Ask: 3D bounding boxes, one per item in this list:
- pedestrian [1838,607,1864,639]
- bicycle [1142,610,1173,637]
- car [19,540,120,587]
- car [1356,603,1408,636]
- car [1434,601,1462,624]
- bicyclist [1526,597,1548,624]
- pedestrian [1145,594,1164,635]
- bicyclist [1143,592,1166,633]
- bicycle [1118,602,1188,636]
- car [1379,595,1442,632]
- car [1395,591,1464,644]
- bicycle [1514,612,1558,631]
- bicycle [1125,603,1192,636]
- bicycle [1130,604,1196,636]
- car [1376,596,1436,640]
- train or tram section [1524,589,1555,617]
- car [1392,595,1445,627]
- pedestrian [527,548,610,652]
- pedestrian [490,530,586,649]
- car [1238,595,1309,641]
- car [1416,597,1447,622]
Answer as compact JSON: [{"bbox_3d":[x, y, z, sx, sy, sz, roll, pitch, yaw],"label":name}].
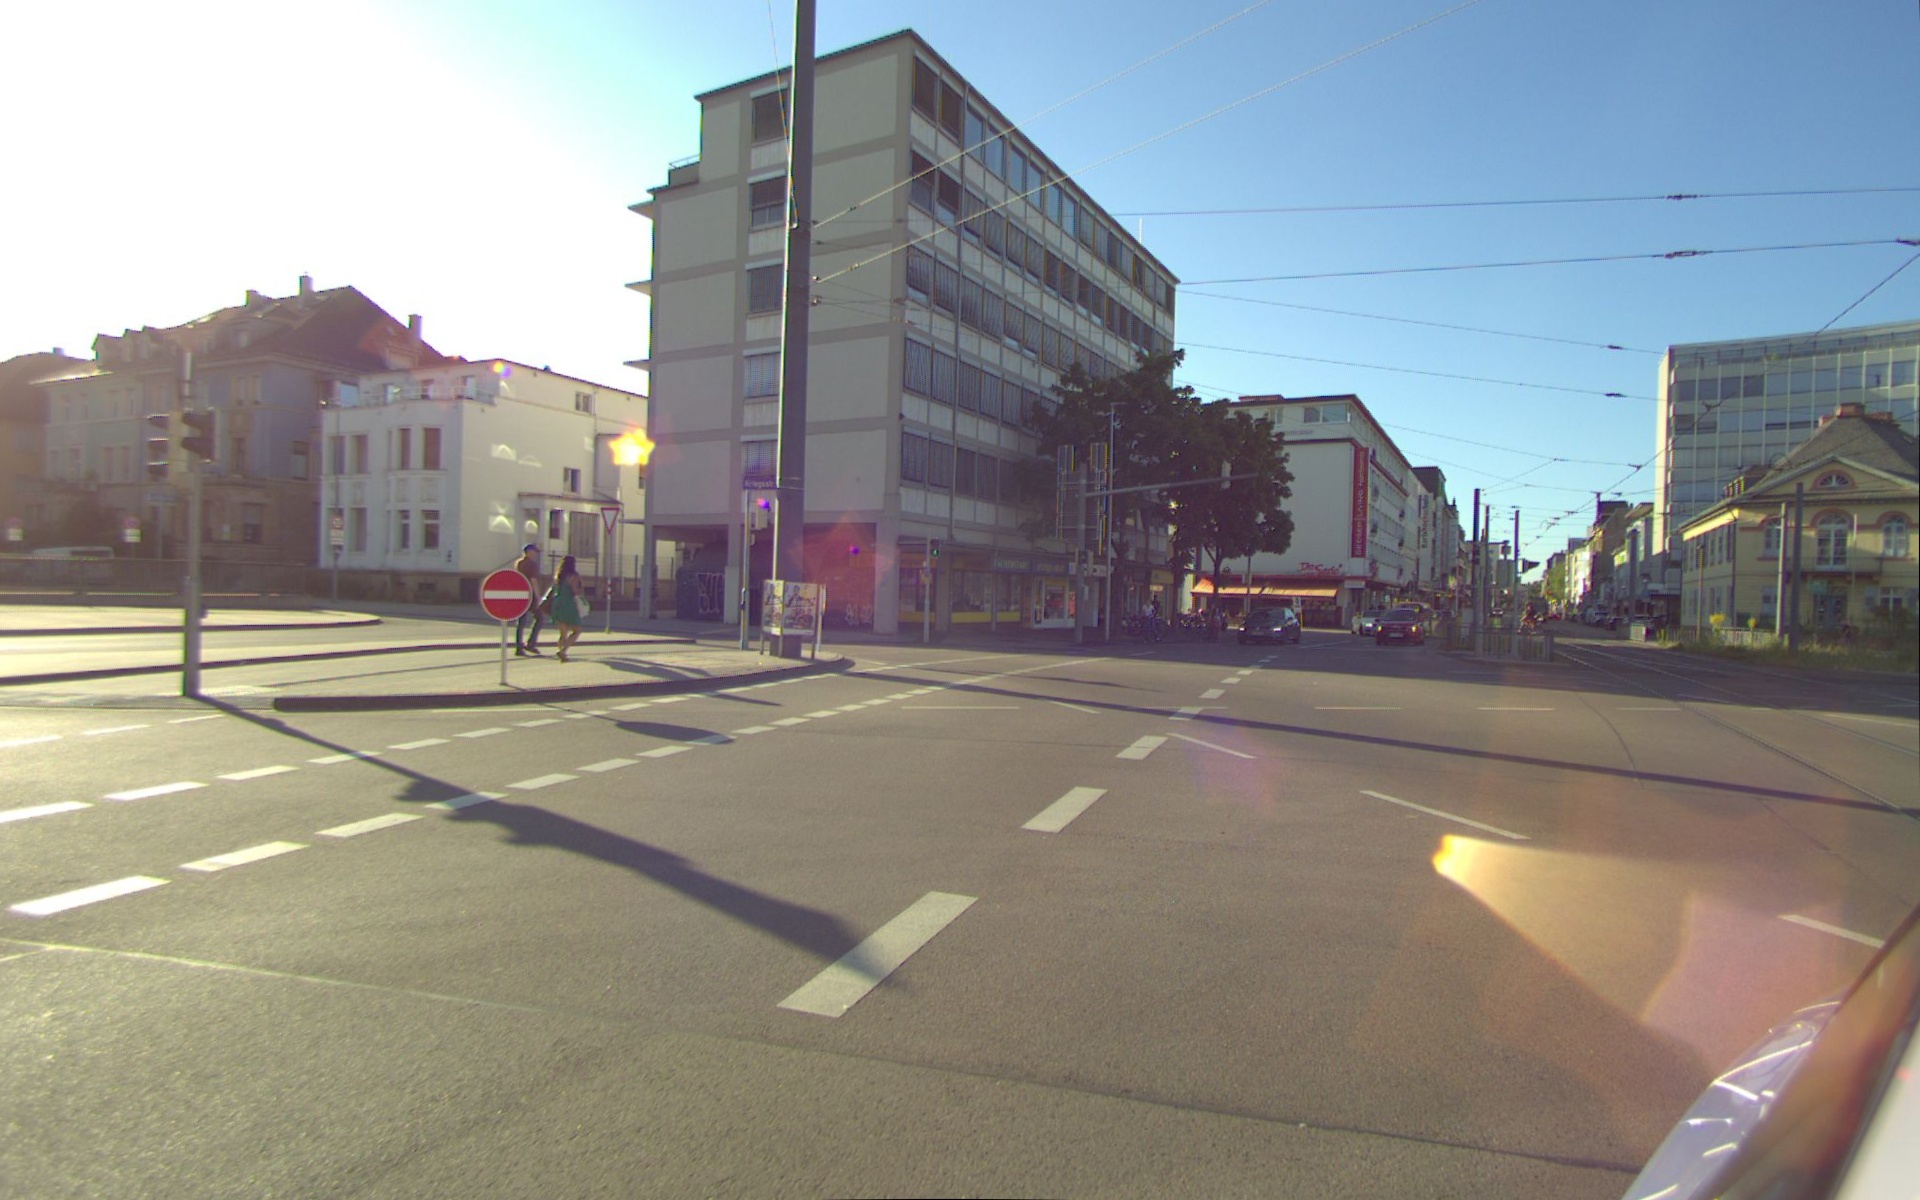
[{"bbox_3d":[48.031,1.232,54.555,0.801,1.663,0.687,2,-1,-11],"label":"pedestrian"},{"bbox_3d":[7.238,0.854,37.065,0.664,0.952,2.014,1,-1,24],"label":"bicycle"},{"bbox_3d":[-46.184,-1.888,52.461,4.787,2.200,2.271,1,-1,27],"label":"car"},{"bbox_3d":[22.285,1.022,53.581,1.816,1.638,3.984,2,-1,12],"label":"car"},{"bbox_3d":[46.540,1.175,96.523,1.984,2.039,4.817,1,-1,31],"label":"car"},{"bbox_3d":[31.998,0.577,56.132,0.711,1.476,0.896,3,-2,-40],"label":"bicyclist"},{"bbox_3d":[9.841,0.721,51.168,0.710,2.039,0.619,1,-2,35],"label":"pedestrian"},{"bbox_3d":[7.054,0.451,36.680,0.664,1.442,0.676,1,-2,24],"label":"bicyclist"},{"bbox_3d":[7.763,0.775,40.749,2.608,1.158,0.747,4,0,19],"label":"bicycle"},{"bbox_3d":[21.454,0.642,48.357,1.815,1.638,3.987,2,-1,10],"label":"car"},{"bbox_3d":[16.143,0.619,34.708,1.828,1.639,3.957,1,-1,29],"label":"car"},{"bbox_3d":[31.953,1.195,56.140,0.711,0.960,1.989,3,-1,-40],"label":"bicycle"},{"bbox_3d":[8.212,0.817,41.852,2.608,1.158,0.747,4,0,19],"label":"bicycle"},{"bbox_3d":[8.588,0.845,42.813,2.608,1.158,0.747,4,0,19],"label":"bicycle"},{"bbox_3d":[17.937,0.738,40.604,1.828,1.639,3.957,1,-1,29],"label":"car"},{"bbox_3d":[83.885,0.445,146.531,3.685,3.882,13.216,1,0,30],"label":"train or tram section"},{"bbox_3d":[28.426,0.699,62.654,1.894,1.866,4.561,1,-1,38],"label":"car"},{"bbox_3d":[-5.774,0.003,14.943,0.846,1.472,0.702,1,-1,21],"label":"pedestrian"},{"bbox_3d":[-7.044,-0.166,16.954,0.846,1.908,1.190,1,-1,20],"label":"pedestrian"},{"bbox_3d":[12.186,0.718,39.199,1.828,1.639,4.037,1,-1,29],"label":"car"},{"bbox_3d":[41.619,0.888,89.333,1.984,2.039,4.817,1,-1,31],"label":"car"}]
